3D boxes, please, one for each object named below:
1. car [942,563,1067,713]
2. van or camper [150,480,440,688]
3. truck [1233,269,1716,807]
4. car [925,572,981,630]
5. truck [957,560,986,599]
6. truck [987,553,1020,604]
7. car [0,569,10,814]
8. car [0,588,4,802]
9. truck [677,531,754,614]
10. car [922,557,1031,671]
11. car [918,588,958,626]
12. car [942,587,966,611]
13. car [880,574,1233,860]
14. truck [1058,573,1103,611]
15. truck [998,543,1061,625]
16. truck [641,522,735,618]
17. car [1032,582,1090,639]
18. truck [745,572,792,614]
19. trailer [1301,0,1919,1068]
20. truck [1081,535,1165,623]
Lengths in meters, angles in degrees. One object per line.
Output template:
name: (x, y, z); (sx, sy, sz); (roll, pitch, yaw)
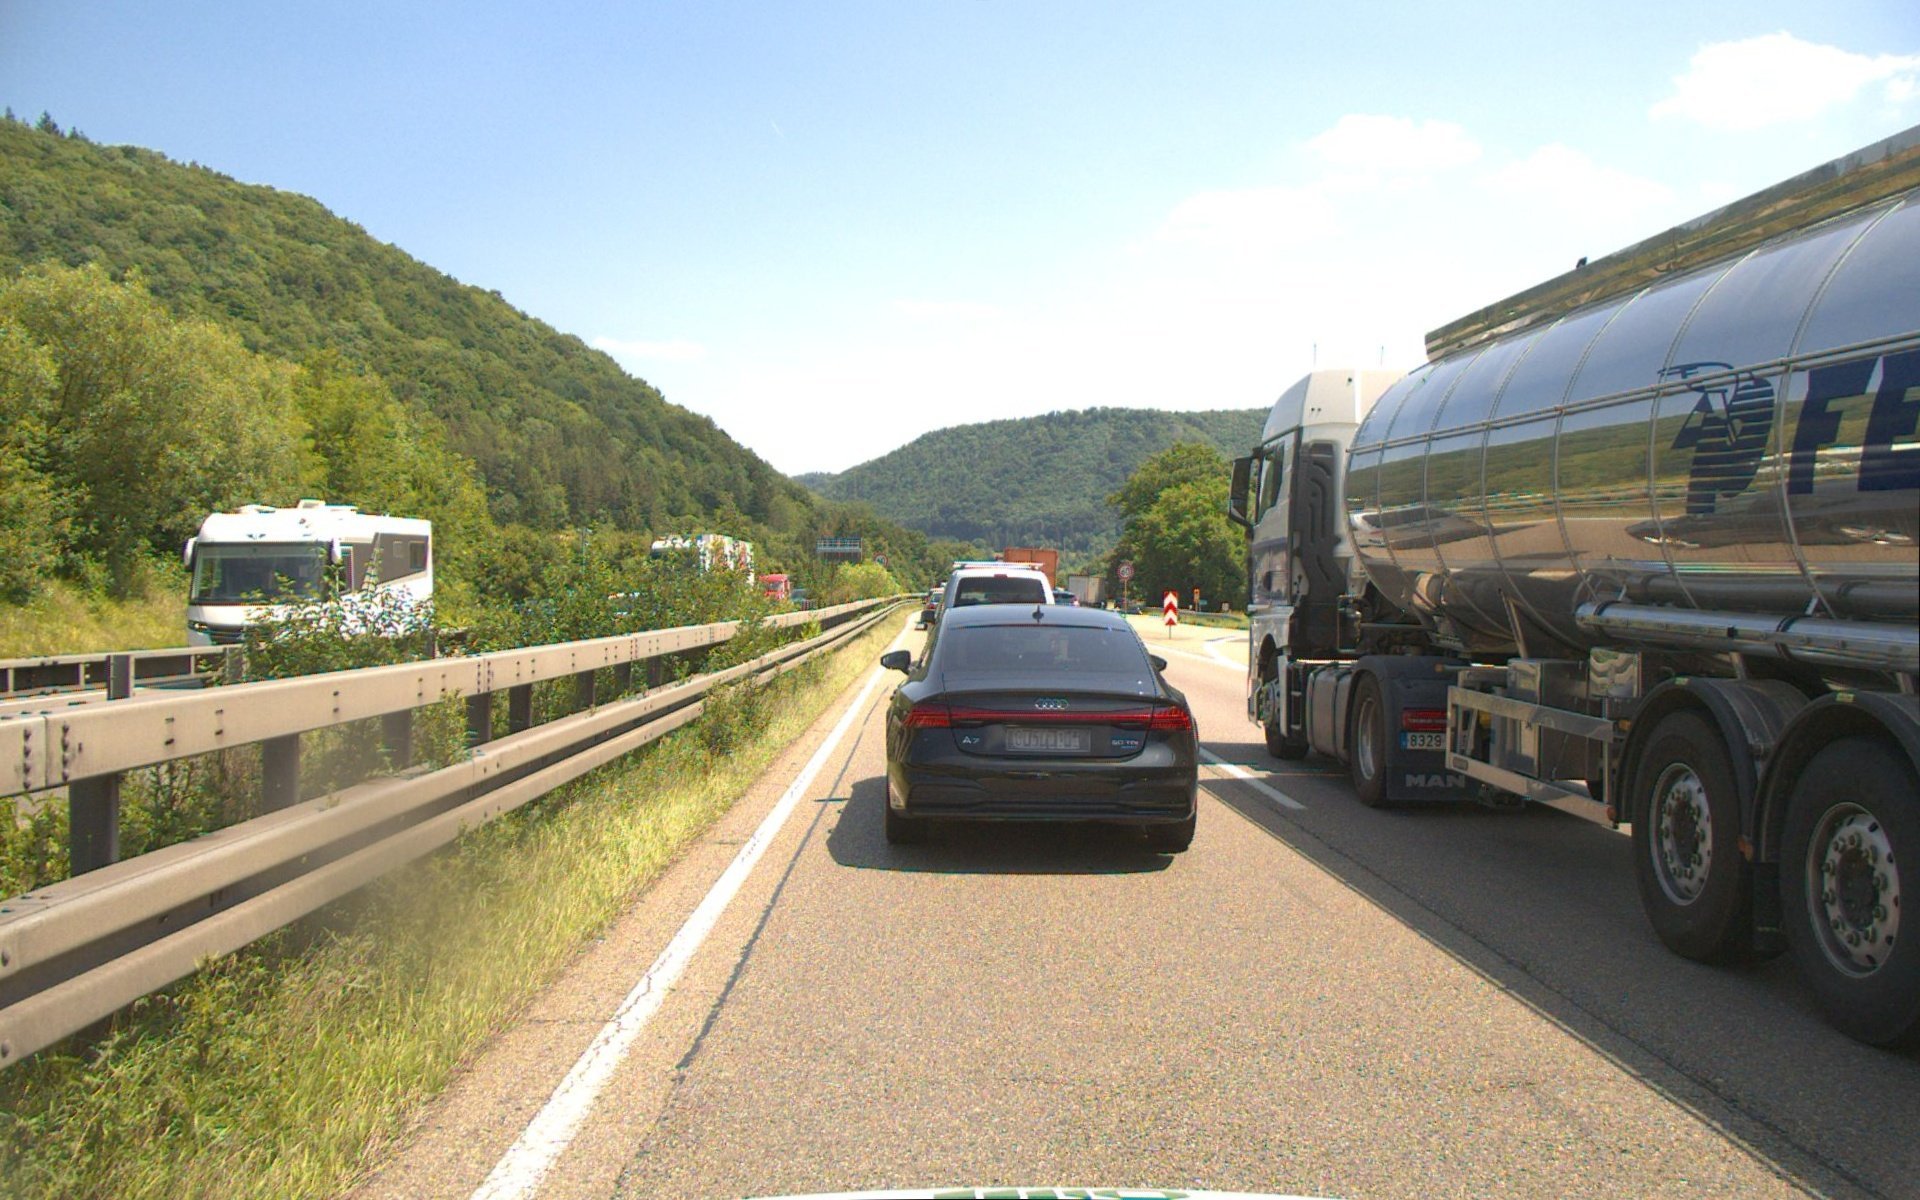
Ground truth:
car: (0.535, 0.468, 22.789); (1.544, 1.865, 3.999); (1, 0, -1)
van or camper: (-12.108, -0.288, 30.966); (2.538, 3.394, 7.645); (0, 0, -2)
truck: (4.132, -0.455, 14.488); (2.460, 3.824, 5.244); (1, 0, -1)
car: (-0.287, 0.009, 60.593); (1.953, 2.049, 3.999); (0, 0, -1)
truck: (1.052, -1.883, 155.396); (2.575, 3.500, 11.420); (0, 0, 0)
truck: (3.104, -1.548, 120.367); (1.953, 3.507, 11.810); (1, 0, -1)
car: (-7.462, 0.637, 9.236); (1.739, 1.680, 4.491); (0, 0, 0)
car: (-7.479, 0.668, 9.213); (1.761, 1.489, 4.535); (0, 0, -2)
truck: (-12.568, -1.381, 85.732); (2.811, 4.050, 9.029); (1, 0, -1)
car: (0.278, 0.242, 31.996); (1.953, 2.049, 3.999); (1, 0, -1)
car: (-0.961, 0.291, 73.796); (1.677, 1.646, 4.000); (0, 0, 0)
car: (-0.395, -0.070, 118.313); (1.677, 1.646, 4.000); (0, 0, 0)
car: (0.422, 0.613, 10.849); (1.813, 1.514, 4.080); (1, 0, -4)
truck: (14.939, -0.947, 203.146); (3.712, 4.491, 14.968); (0, 0, 11)
truck: (3.652, -0.869, 90.358); (2.760, 4.073, 14.955); (1, 0, 0)
truck: (-12.378, -1.313, 76.152); (2.811, 4.076, 10.168); (1, 0, -1)
car: (3.735, 0.359, 61.845); (1.952, 2.037, 4.000); (0, 0, 0)
truck: (-12.530, -0.442, 108.758); (2.249, 2.633, 7.967); (1, 0, -1)
trailer: (4.252, -0.417, 7.908); (2.487, 3.801, 11.888); (1, 0, -1)
truck: (8.145, -1.014, 84.570); (2.760, 4.073, 14.955); (1, 0, 0)
